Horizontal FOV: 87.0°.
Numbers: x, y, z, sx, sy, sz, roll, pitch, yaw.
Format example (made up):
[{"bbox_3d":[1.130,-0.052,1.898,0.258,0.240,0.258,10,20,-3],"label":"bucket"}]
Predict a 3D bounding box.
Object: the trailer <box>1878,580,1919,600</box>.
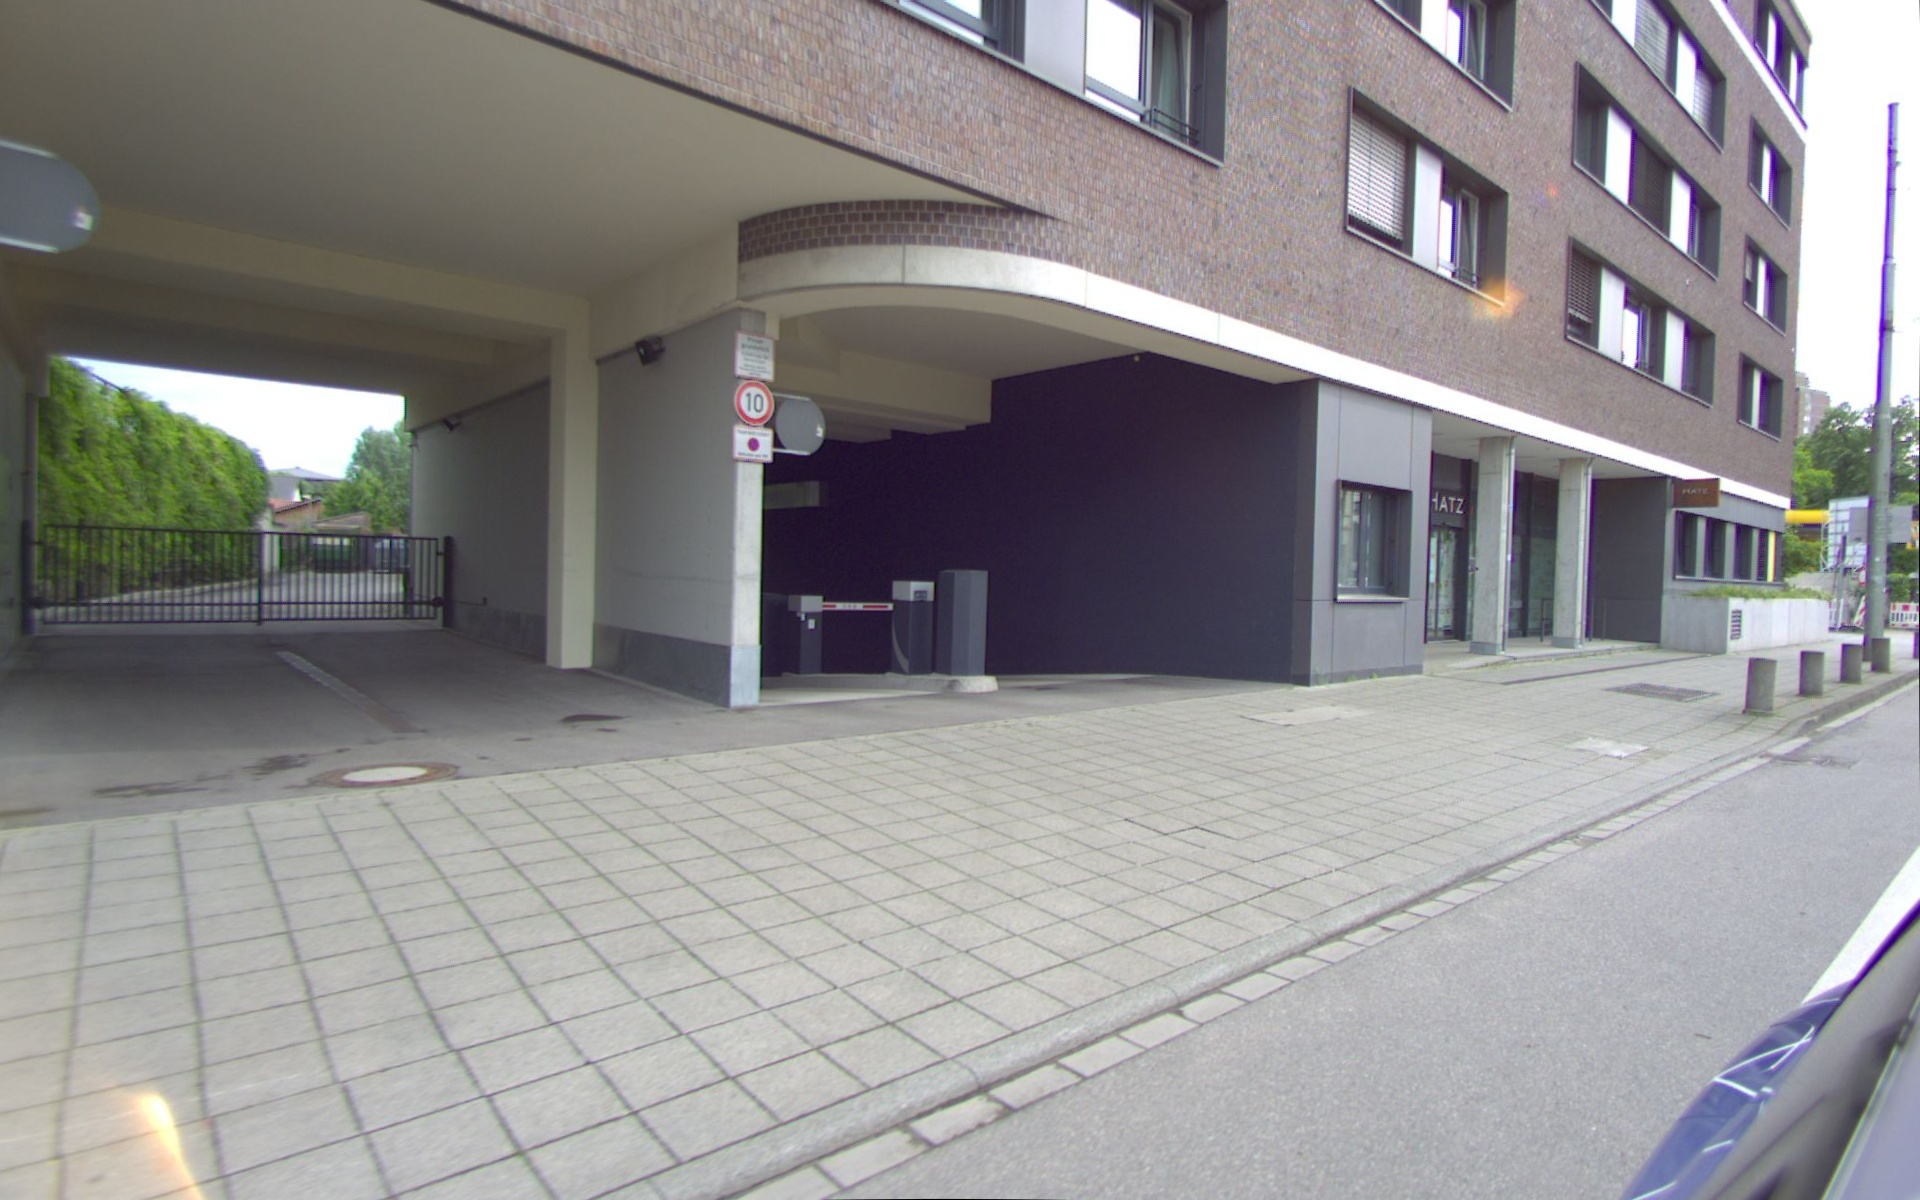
[{"bbox_3d":[82.006,-0.871,87.859,3.283,1.549,1.747,5,6,43],"label":"trailer"}]
